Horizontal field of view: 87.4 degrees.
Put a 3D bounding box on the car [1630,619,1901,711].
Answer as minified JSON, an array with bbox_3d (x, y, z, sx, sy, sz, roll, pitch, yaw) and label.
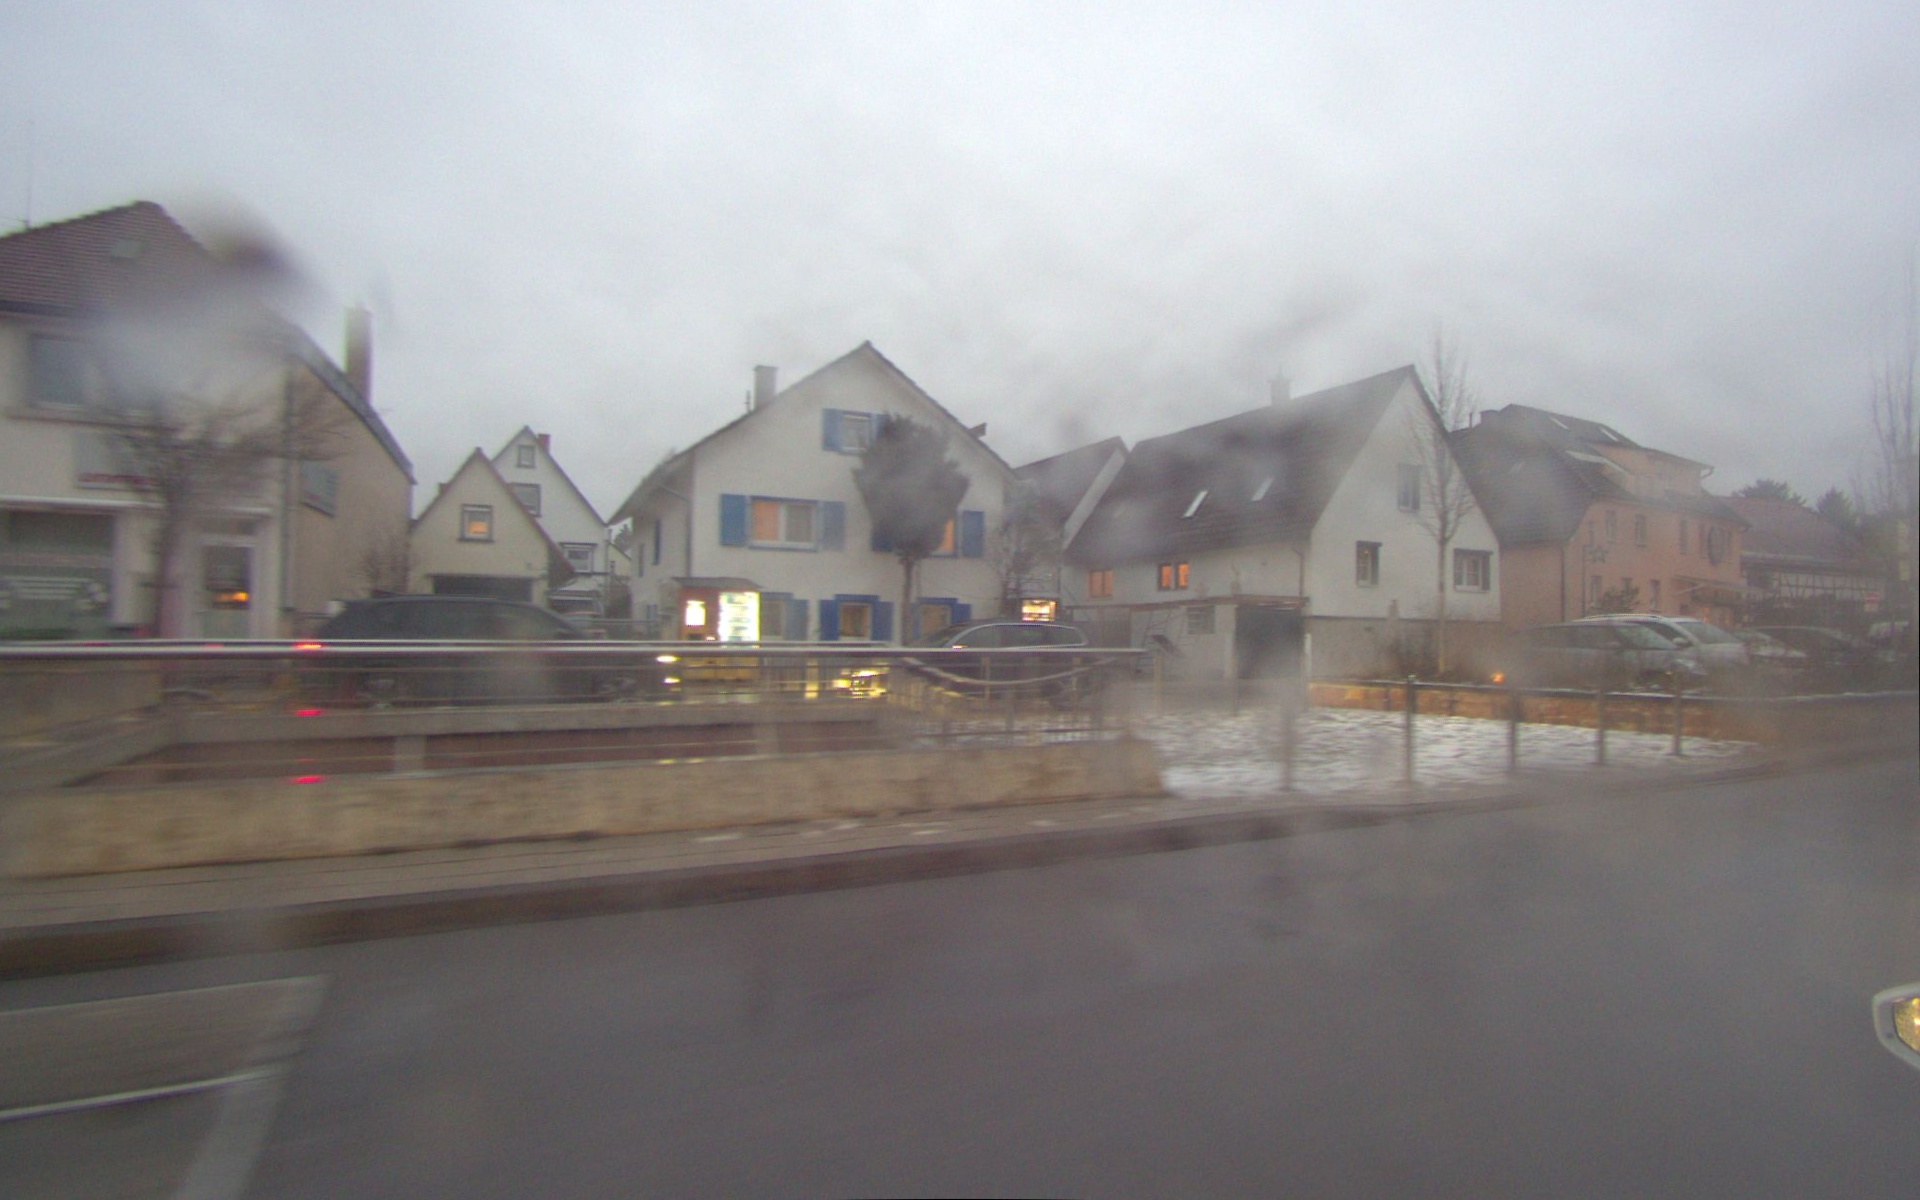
[{"bbox_3d":[16.348,1.255,20.634,1.566,1.629,4.079,2,-1,-26],"label":"car"}]

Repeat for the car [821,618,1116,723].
[{"bbox_3d":[0.181,1.088,16.387,4.514,1.502,1.795,1,-3,-28],"label":"car"}]

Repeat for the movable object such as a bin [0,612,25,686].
[{"bbox_3d":[-15.033,0.754,15.724,0.447,1.135,0.286,4,-1,-25],"label":"movable object such as a bin"}]

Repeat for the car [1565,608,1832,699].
[{"bbox_3d":[13.935,0.951,19.194,1.690,1.543,3.785,2,-1,-23],"label":"car"}]

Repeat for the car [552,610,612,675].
[{"bbox_3d":[-11.750,1.346,31.159,1.651,1.865,3.647,0,-3,-22],"label":"car"}]

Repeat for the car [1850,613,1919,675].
[{"bbox_3d":[27.743,1.262,27.580,1.978,1.689,4.600,2,-1,-32],"label":"car"}]

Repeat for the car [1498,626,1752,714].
[{"bbox_3d":[11.646,1.171,17.789,1.582,1.390,3.428,1,-2,-30],"label":"car"}]

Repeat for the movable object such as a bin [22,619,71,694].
[{"bbox_3d":[-14.498,0.899,15.953,0.447,1.157,0.286,4,-1,-25],"label":"movable object such as a bin"}]

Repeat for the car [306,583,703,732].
[{"bbox_3d":[-5.851,0.736,13.344,4.502,1.723,1.751,1,-3,-25],"label":"car"}]
